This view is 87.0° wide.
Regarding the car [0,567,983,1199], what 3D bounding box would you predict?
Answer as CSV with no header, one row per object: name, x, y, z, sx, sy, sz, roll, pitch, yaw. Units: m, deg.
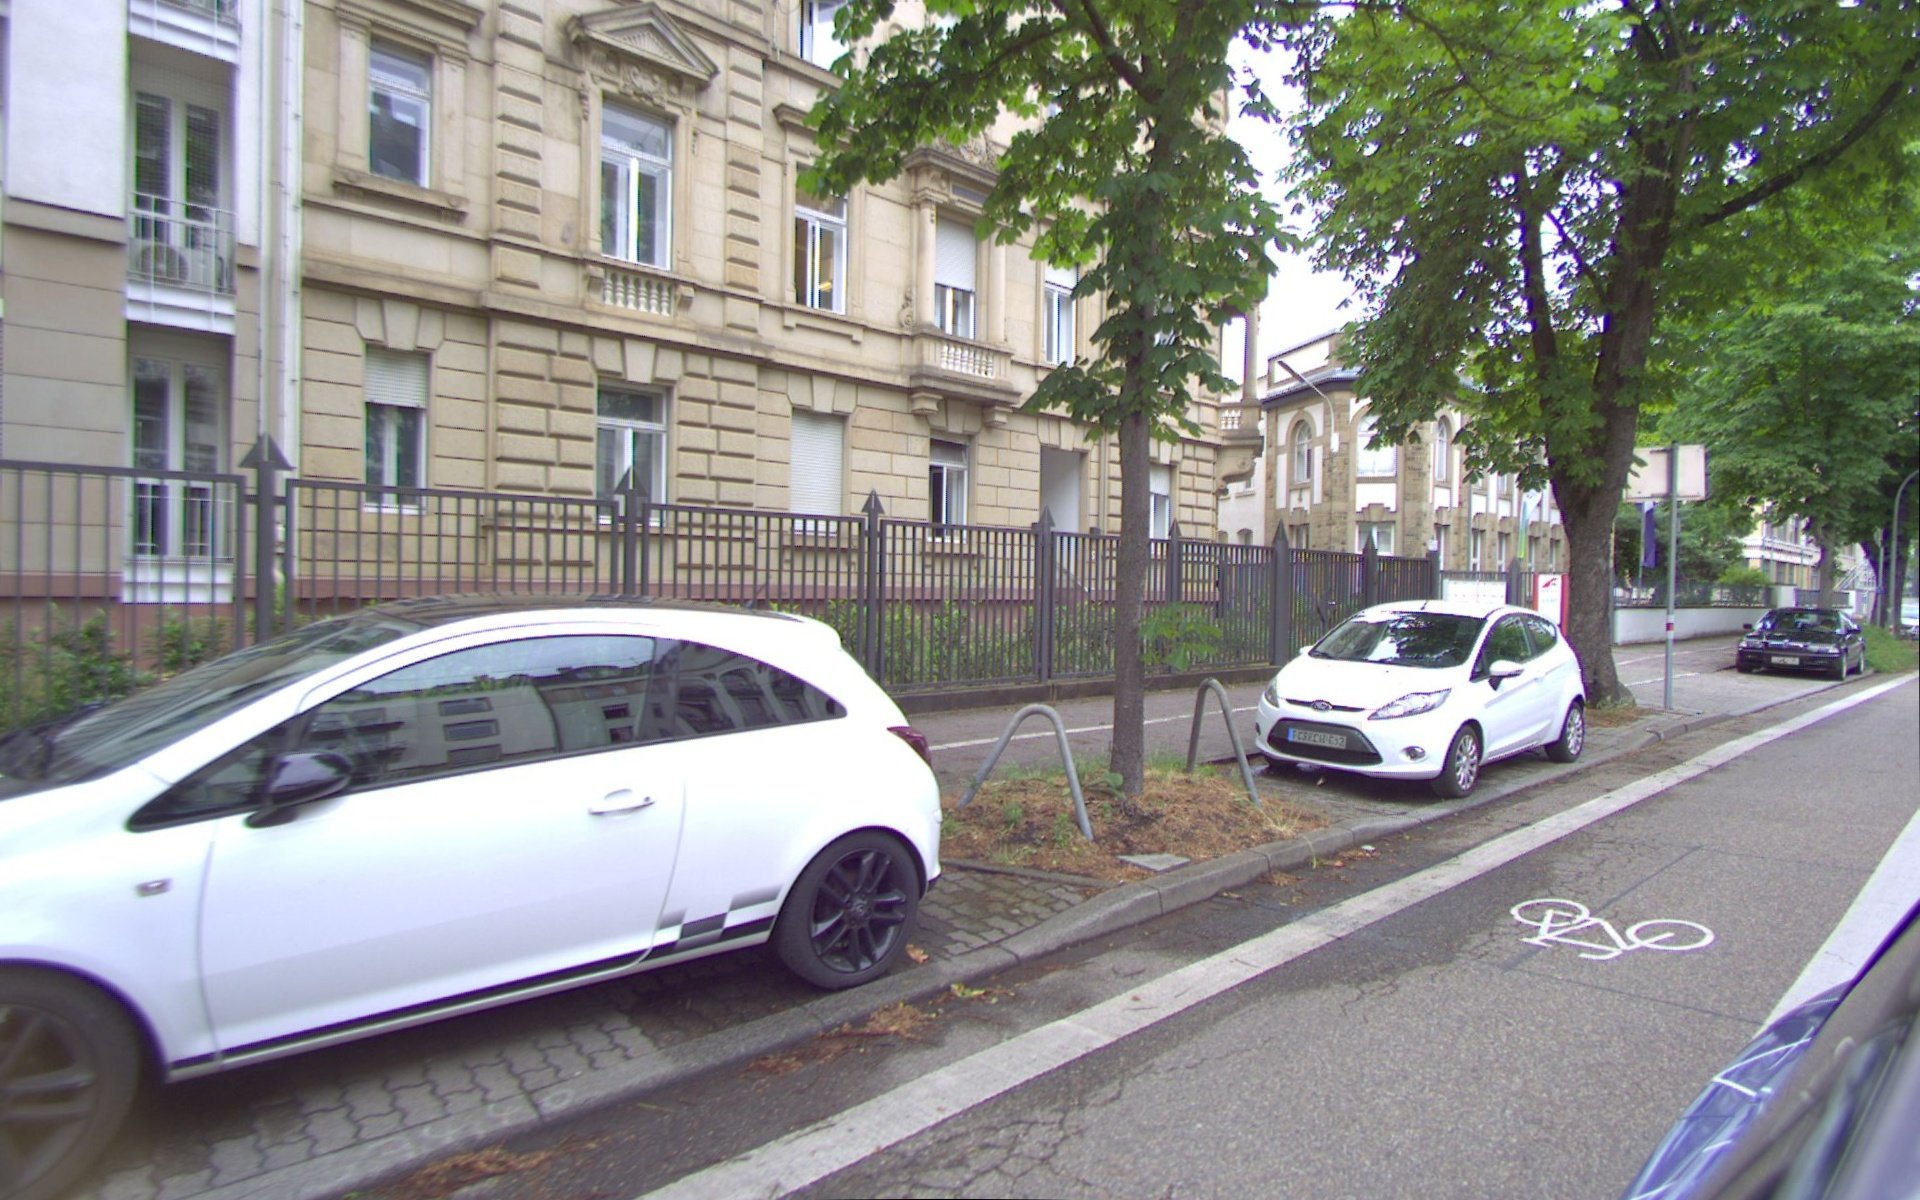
car,-1.851,0.661,3.634,3.710,1.453,1.606,0,3,-40

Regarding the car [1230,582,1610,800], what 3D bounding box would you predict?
car,4.169,0.626,8.927,3.699,1.453,1.631,0,3,-41

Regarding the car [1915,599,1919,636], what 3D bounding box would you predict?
car,39.631,0.736,40.530,3.770,1.442,1.605,0,3,-41

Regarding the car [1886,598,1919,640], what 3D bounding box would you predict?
car,34.174,0.671,35.813,3.770,1.387,1.605,0,3,-41

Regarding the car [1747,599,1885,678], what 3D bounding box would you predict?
car,17.808,0.730,21.005,3.770,1.387,1.605,0,3,-41
